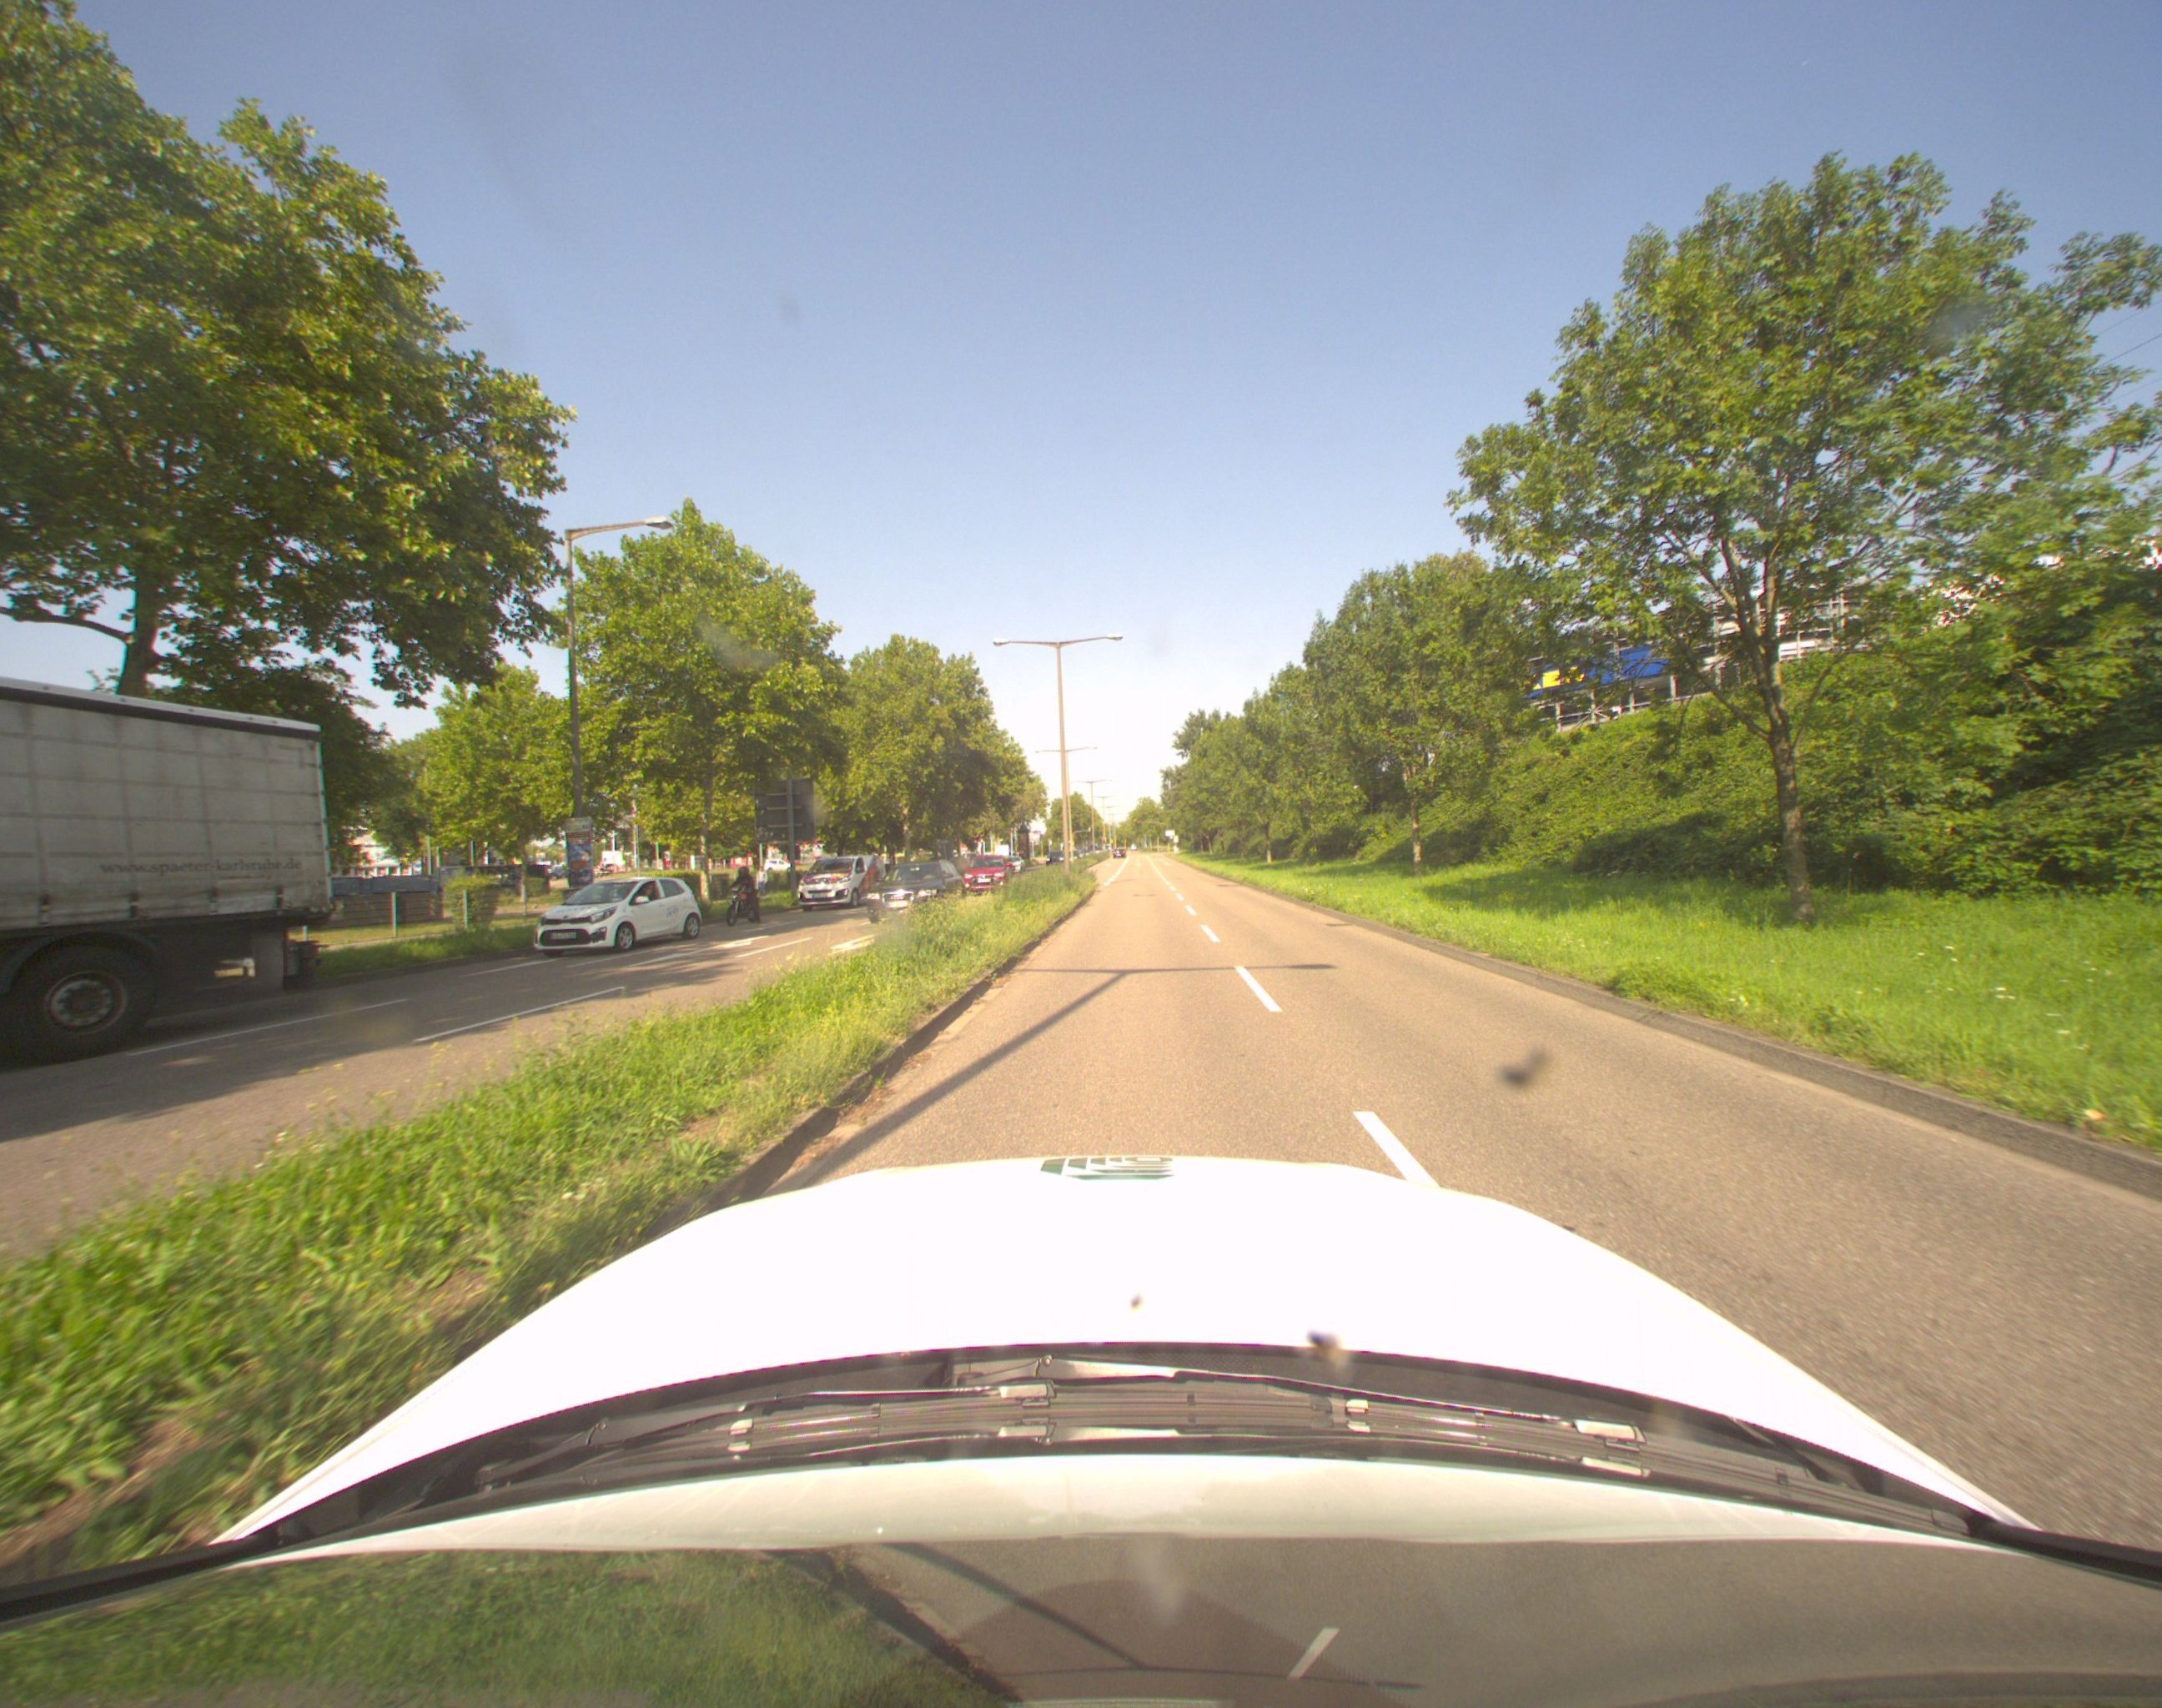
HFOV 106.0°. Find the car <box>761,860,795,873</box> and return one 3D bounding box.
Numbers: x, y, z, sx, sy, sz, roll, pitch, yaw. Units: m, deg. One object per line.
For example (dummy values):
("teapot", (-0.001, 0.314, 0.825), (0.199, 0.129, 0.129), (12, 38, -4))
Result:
("car", (-42.347, 1.781, 113.899), (4.017, 1.679, 1.850), (-1, 0, -36))

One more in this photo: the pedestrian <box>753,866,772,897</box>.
("pedestrian", (-17.663, 1.508, 45.214), (0.614, 1.653, 0.935), (-2, 0, 4))

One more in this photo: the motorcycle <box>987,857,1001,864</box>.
("motorcycle", (-13.917, 1.026, 129.709), (2.083, 1.136, 0.671), (-2, -1, -32))

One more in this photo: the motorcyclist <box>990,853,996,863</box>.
("motorcyclist", (-13.986, 0.649, 129.671), (0.686, 1.572, 0.676), (-1, 0, -32))

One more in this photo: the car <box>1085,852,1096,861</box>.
("car", (1.682, 0.466, 139.208), (1.669, 1.486, 3.495), (-2, 0, 3))

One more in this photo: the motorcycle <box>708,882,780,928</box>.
("motorcycle", (-9.413, 1.406, 22.857), (0.791, 1.107, 2.471), (-2, 0, 5))

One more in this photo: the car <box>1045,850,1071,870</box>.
("car", (-2.269, 0.588, 81.988), (1.985, 1.759, 4.482), (-4, 0, 4))

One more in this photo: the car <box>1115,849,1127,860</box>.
("car", (6.017, 0.063, 122.689), (1.684, 1.486, 4.004), (-1, 0, 4))

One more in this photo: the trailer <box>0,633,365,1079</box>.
("trailer", (-10.824, 0.087, 3.305), (2.621, 3.821, 13.827), (-4, 0, 4))

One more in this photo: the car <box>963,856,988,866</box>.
("car", (-17.049, 1.120, 131.212), (3.716, 1.443, 1.452), (-2, 0, -32))

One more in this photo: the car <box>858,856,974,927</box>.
("car", (-4.064, 0.856, 20.806), (1.739, 1.479, 4.589), (-4, 0, 2))

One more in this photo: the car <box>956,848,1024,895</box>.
("car", (-3.687, 0.683, 33.930), (1.945, 1.724, 4.592), (-2, 0, 4))

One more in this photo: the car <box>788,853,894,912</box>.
("car", (-8.697, 0.970, 30.064), (1.975, 1.858, 4.975), (-4, 0, 4))

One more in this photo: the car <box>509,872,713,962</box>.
("car", (-9.610, 1.224, 17.056), (1.738, 1.479, 3.836), (-3, 0, 5))

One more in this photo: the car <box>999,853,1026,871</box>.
("car", (-5.978, 0.696, 71.336), (1.783, 1.482, 4.003), (-3, 0, 3))

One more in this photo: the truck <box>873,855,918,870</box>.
("truck", (-41.687, 1.914, 183.318), (9.047, 2.957, 3.479), (-3, 0, -32))

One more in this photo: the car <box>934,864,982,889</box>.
("car", (-7.353, 1.336, 49.006), (1.782, 1.263, 4.102), (-4, 0, 6))

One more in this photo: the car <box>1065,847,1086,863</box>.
("car", (-0.632, 0.083, 96.625), (1.985, 1.759, 4.312), (-4, 0, 4))

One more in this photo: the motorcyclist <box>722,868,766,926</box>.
("motorcyclist", (-9.424, 1.179, 22.796), (0.774, 1.554, 0.924), (-2, 0, 5))
